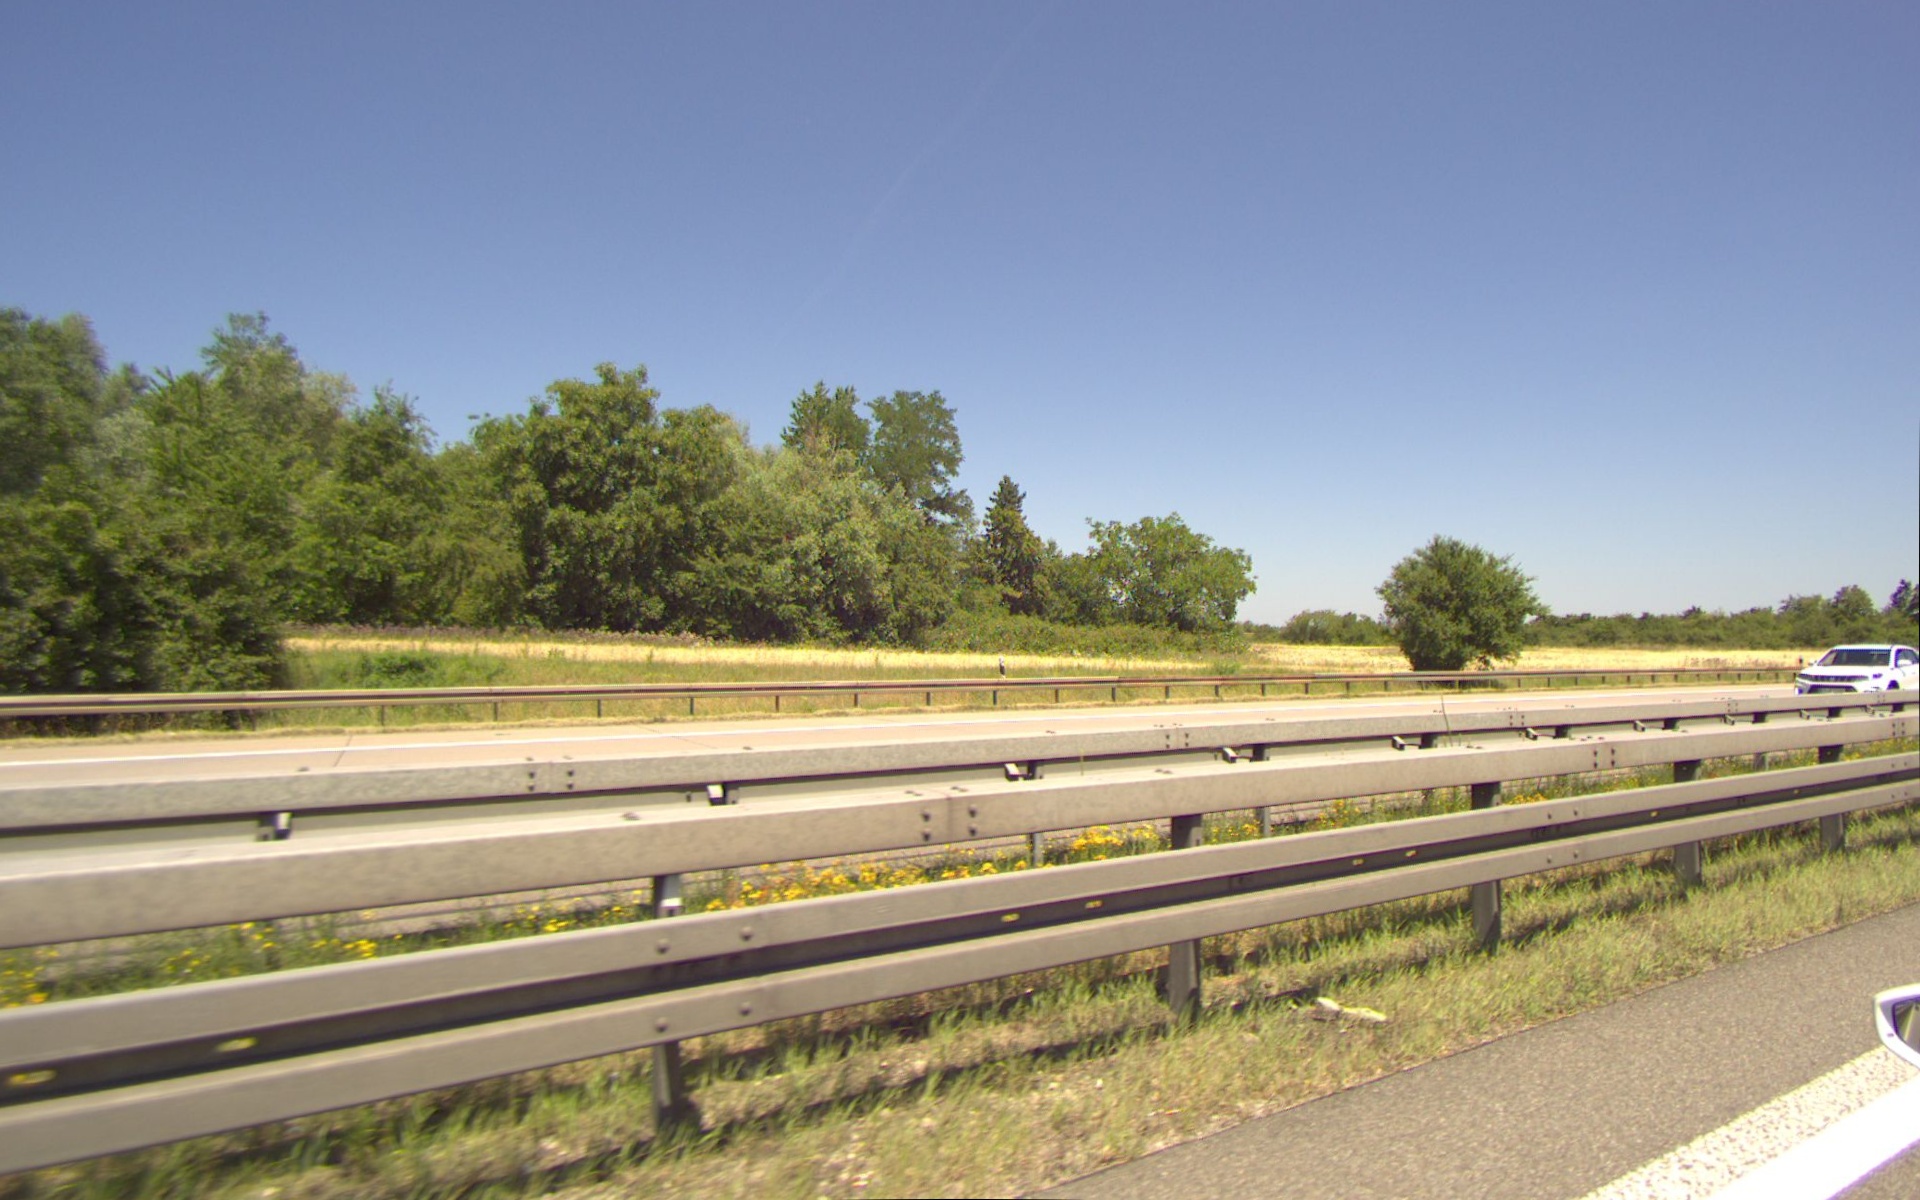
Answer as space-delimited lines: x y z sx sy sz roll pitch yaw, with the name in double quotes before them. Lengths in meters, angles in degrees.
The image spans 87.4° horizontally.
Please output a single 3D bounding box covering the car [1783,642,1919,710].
"car" 22.306 1.817 24.825 3.916 1.556 1.800 2 -3 -31
